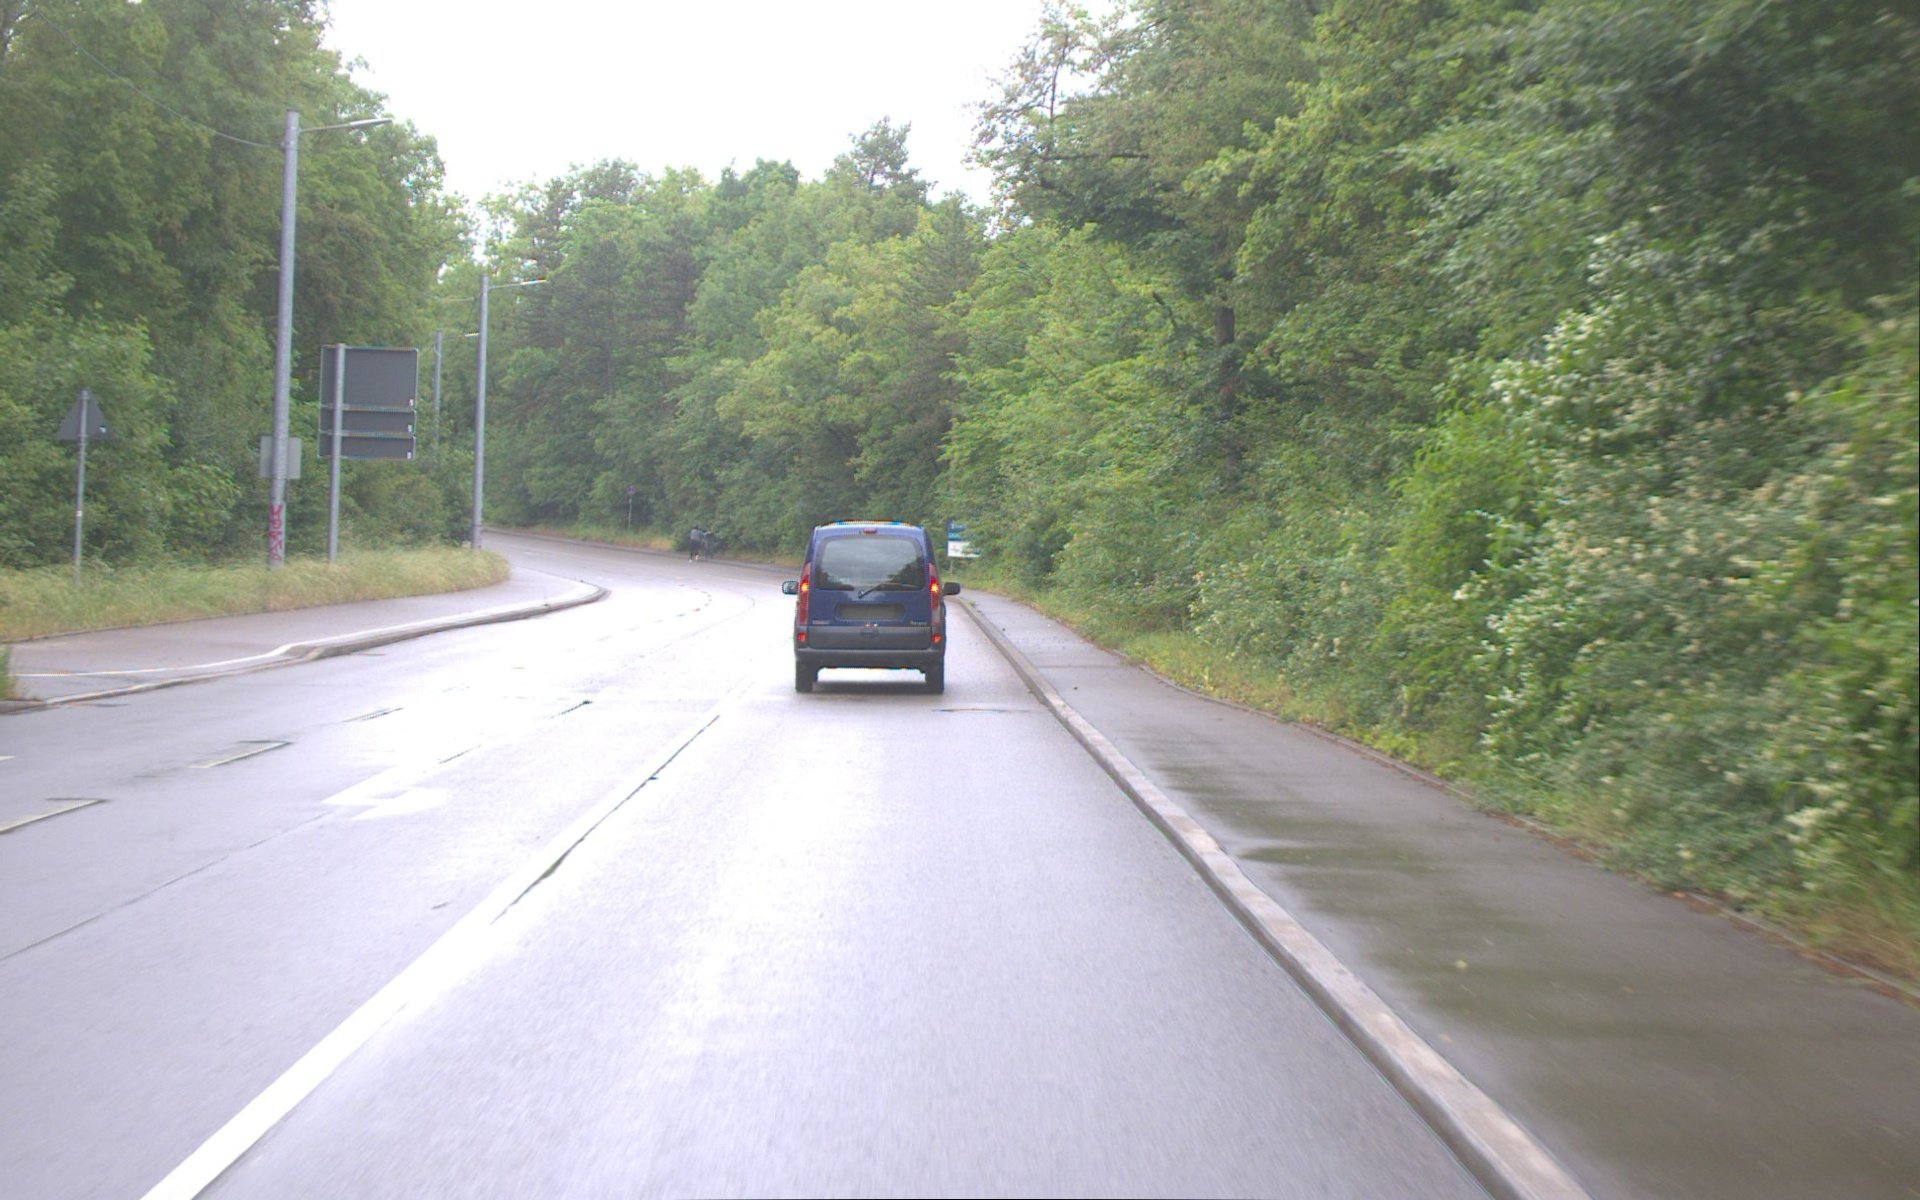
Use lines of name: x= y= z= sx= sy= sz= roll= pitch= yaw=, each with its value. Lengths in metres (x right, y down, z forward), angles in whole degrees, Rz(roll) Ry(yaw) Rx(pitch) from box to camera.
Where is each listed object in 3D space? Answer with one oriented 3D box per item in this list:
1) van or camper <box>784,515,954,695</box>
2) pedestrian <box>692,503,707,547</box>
van or camper: x=-0.965 y=0.005 z=38.180 sx=1.712 sy=1.819 sz=4.000 roll=2 pitch=2 yaw=0
pedestrian: x=-11.194 y=-3.238 z=147.820 sx=0.490 sy=1.863 sz=0.680 roll=1 pitch=1 yaw=-14
